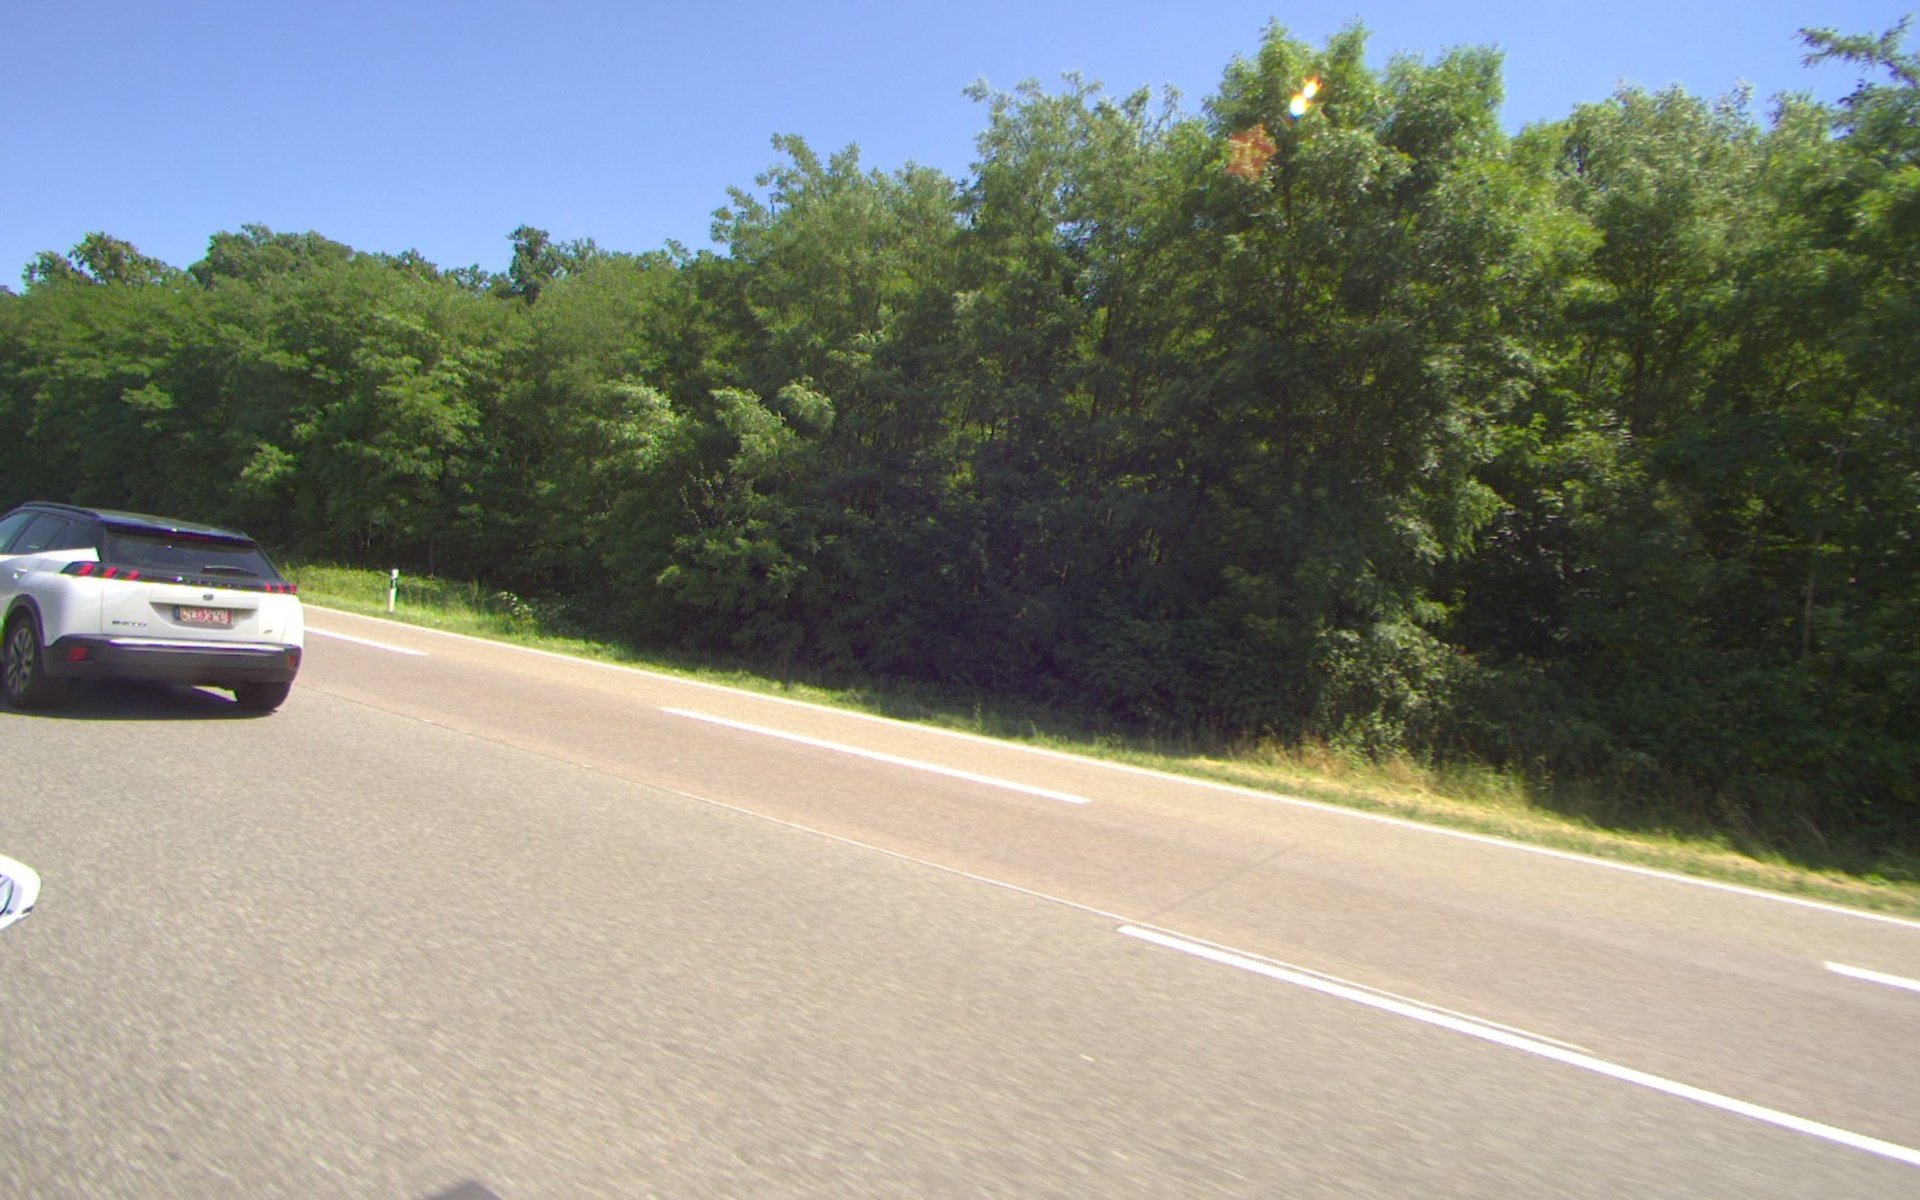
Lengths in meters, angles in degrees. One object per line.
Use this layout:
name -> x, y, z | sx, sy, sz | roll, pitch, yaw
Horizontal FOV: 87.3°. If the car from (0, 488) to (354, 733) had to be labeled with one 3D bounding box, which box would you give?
car -> -7.631, -0.037, 8.887 | 4.729, 1.627, 1.830 | 6, -1, 32
